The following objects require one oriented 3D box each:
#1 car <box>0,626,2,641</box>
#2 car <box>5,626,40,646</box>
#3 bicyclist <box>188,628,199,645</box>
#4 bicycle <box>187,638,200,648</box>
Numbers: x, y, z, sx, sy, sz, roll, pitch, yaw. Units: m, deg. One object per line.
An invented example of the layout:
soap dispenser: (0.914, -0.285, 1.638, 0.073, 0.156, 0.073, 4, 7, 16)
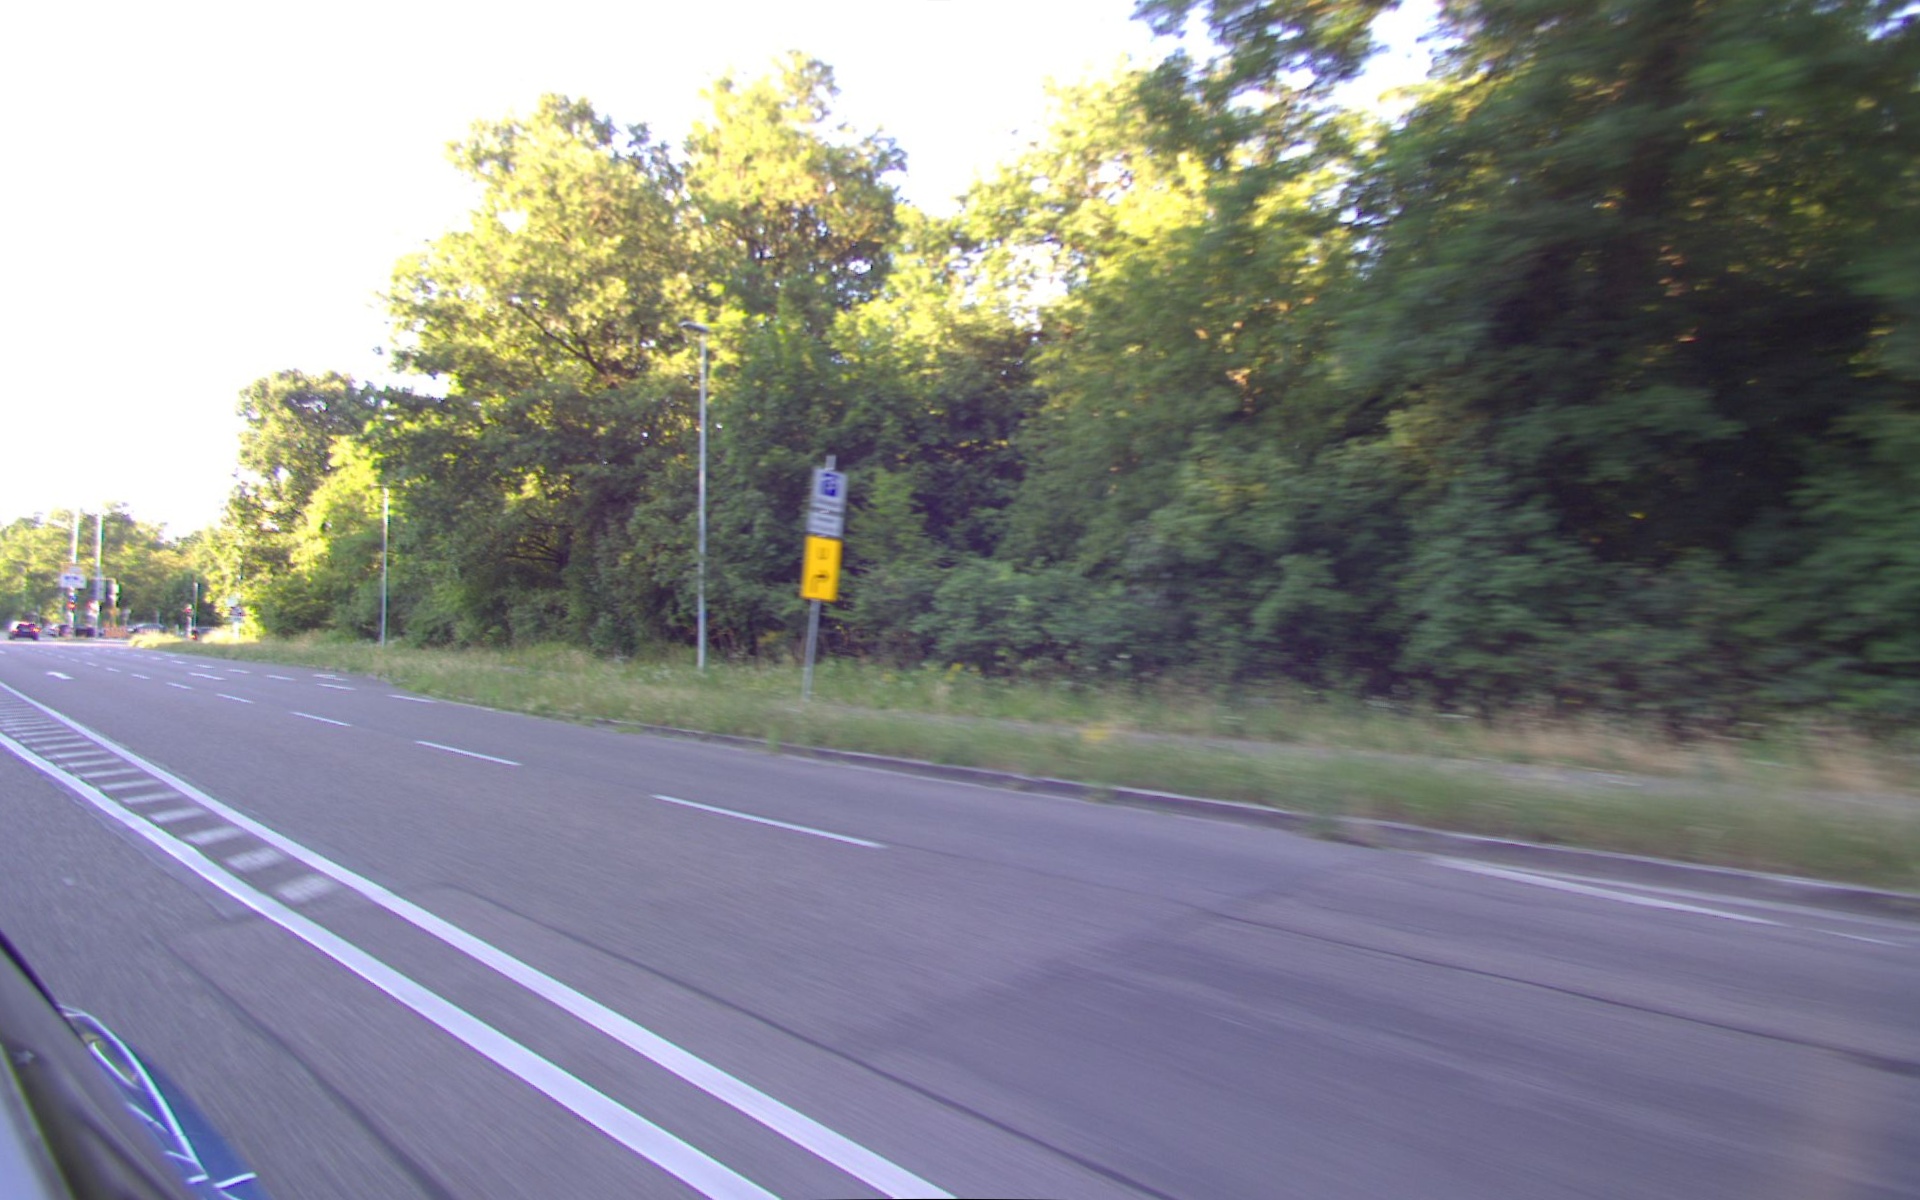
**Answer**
car: (-100.943, 3.402, 103.341, 1.712, 1.467, 4.197, 0, -2, 25)
car: (-77.749, 3.005, 83.997, 1.796, 1.545, 4.463, 5, -4, -39)
bicyclist: (-65.817, 3.141, 86.939, 0.577, 1.440, 0.825, 2, -3, -28)
bicycle: (-65.888, 3.707, 86.983, 0.577, 0.810, 1.964, 2, -3, -28)
